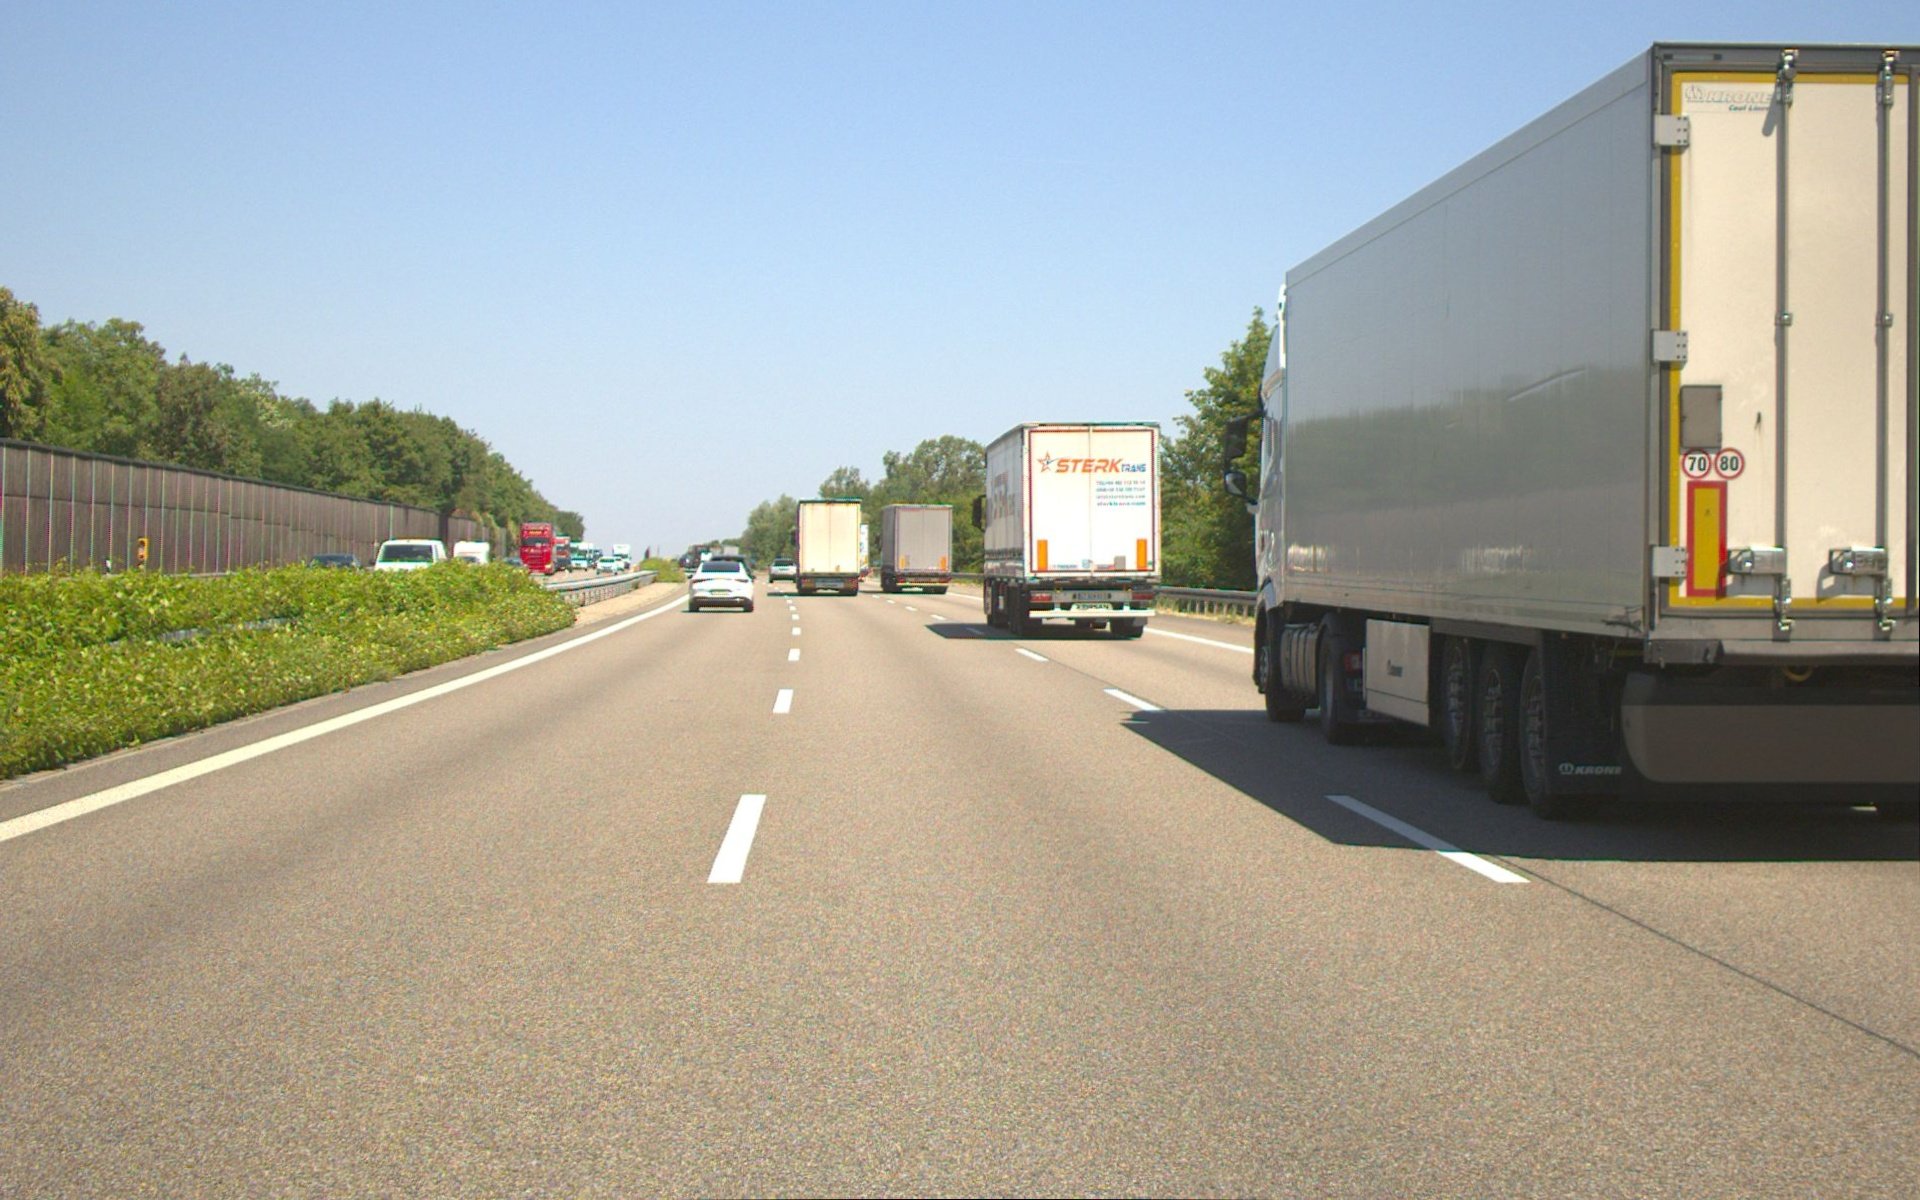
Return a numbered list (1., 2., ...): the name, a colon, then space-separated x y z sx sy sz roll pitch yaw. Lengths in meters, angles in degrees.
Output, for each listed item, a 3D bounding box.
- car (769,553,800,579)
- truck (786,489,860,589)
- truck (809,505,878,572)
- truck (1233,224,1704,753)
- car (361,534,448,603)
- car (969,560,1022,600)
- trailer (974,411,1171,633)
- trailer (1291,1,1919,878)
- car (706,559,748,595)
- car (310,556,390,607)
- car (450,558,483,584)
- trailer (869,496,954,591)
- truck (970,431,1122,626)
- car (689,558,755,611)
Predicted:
1. car: -11.085 -2.155 217.597 1.855 1.611 4.000 1 0 -2
2. truck: -6.003 -2.557 148.972 2.706 4.072 13.475 2 0 -4
3. truck: -8.053 -4.176 236.260 3.373 4.289 11.452 4 0 -7
4. truck: 4.211 -0.901 29.883 2.959 4.092 6.207 0 1 -2
5. car: -16.625 -0.946 103.096 1.993 2.007 5.347 1 1 -3
6. car: 1.444 -0.840 141.943 1.855 1.611 4.001 1 0 -4
7. trailer: 2.109 -1.501 70.568 2.707 4.074 14.153 1 0 -3
8. trailer: 4.448 -0.813 22.394 2.959 4.092 12.533 0 1 -2
9. car: -10.737 -1.056 158.491 1.855 1.611 4.001 1 0 -4
10. car: -20.439 -0.638 115.387 1.993 1.638 5.587 1 1 -3
11. car: -33.084 -1.932 230.558 1.898 1.705 4.907 0 1 -5
12. trailer: -2.325 -2.571 160.090 2.703 4.201 13.214 2 0 -6
13. truck: 1.821 -1.529 75.882 2.707 4.074 6.965 1 0 -4
14. car: -6.861 -0.454 99.144 1.855 1.481 4.001 1 0 -4
